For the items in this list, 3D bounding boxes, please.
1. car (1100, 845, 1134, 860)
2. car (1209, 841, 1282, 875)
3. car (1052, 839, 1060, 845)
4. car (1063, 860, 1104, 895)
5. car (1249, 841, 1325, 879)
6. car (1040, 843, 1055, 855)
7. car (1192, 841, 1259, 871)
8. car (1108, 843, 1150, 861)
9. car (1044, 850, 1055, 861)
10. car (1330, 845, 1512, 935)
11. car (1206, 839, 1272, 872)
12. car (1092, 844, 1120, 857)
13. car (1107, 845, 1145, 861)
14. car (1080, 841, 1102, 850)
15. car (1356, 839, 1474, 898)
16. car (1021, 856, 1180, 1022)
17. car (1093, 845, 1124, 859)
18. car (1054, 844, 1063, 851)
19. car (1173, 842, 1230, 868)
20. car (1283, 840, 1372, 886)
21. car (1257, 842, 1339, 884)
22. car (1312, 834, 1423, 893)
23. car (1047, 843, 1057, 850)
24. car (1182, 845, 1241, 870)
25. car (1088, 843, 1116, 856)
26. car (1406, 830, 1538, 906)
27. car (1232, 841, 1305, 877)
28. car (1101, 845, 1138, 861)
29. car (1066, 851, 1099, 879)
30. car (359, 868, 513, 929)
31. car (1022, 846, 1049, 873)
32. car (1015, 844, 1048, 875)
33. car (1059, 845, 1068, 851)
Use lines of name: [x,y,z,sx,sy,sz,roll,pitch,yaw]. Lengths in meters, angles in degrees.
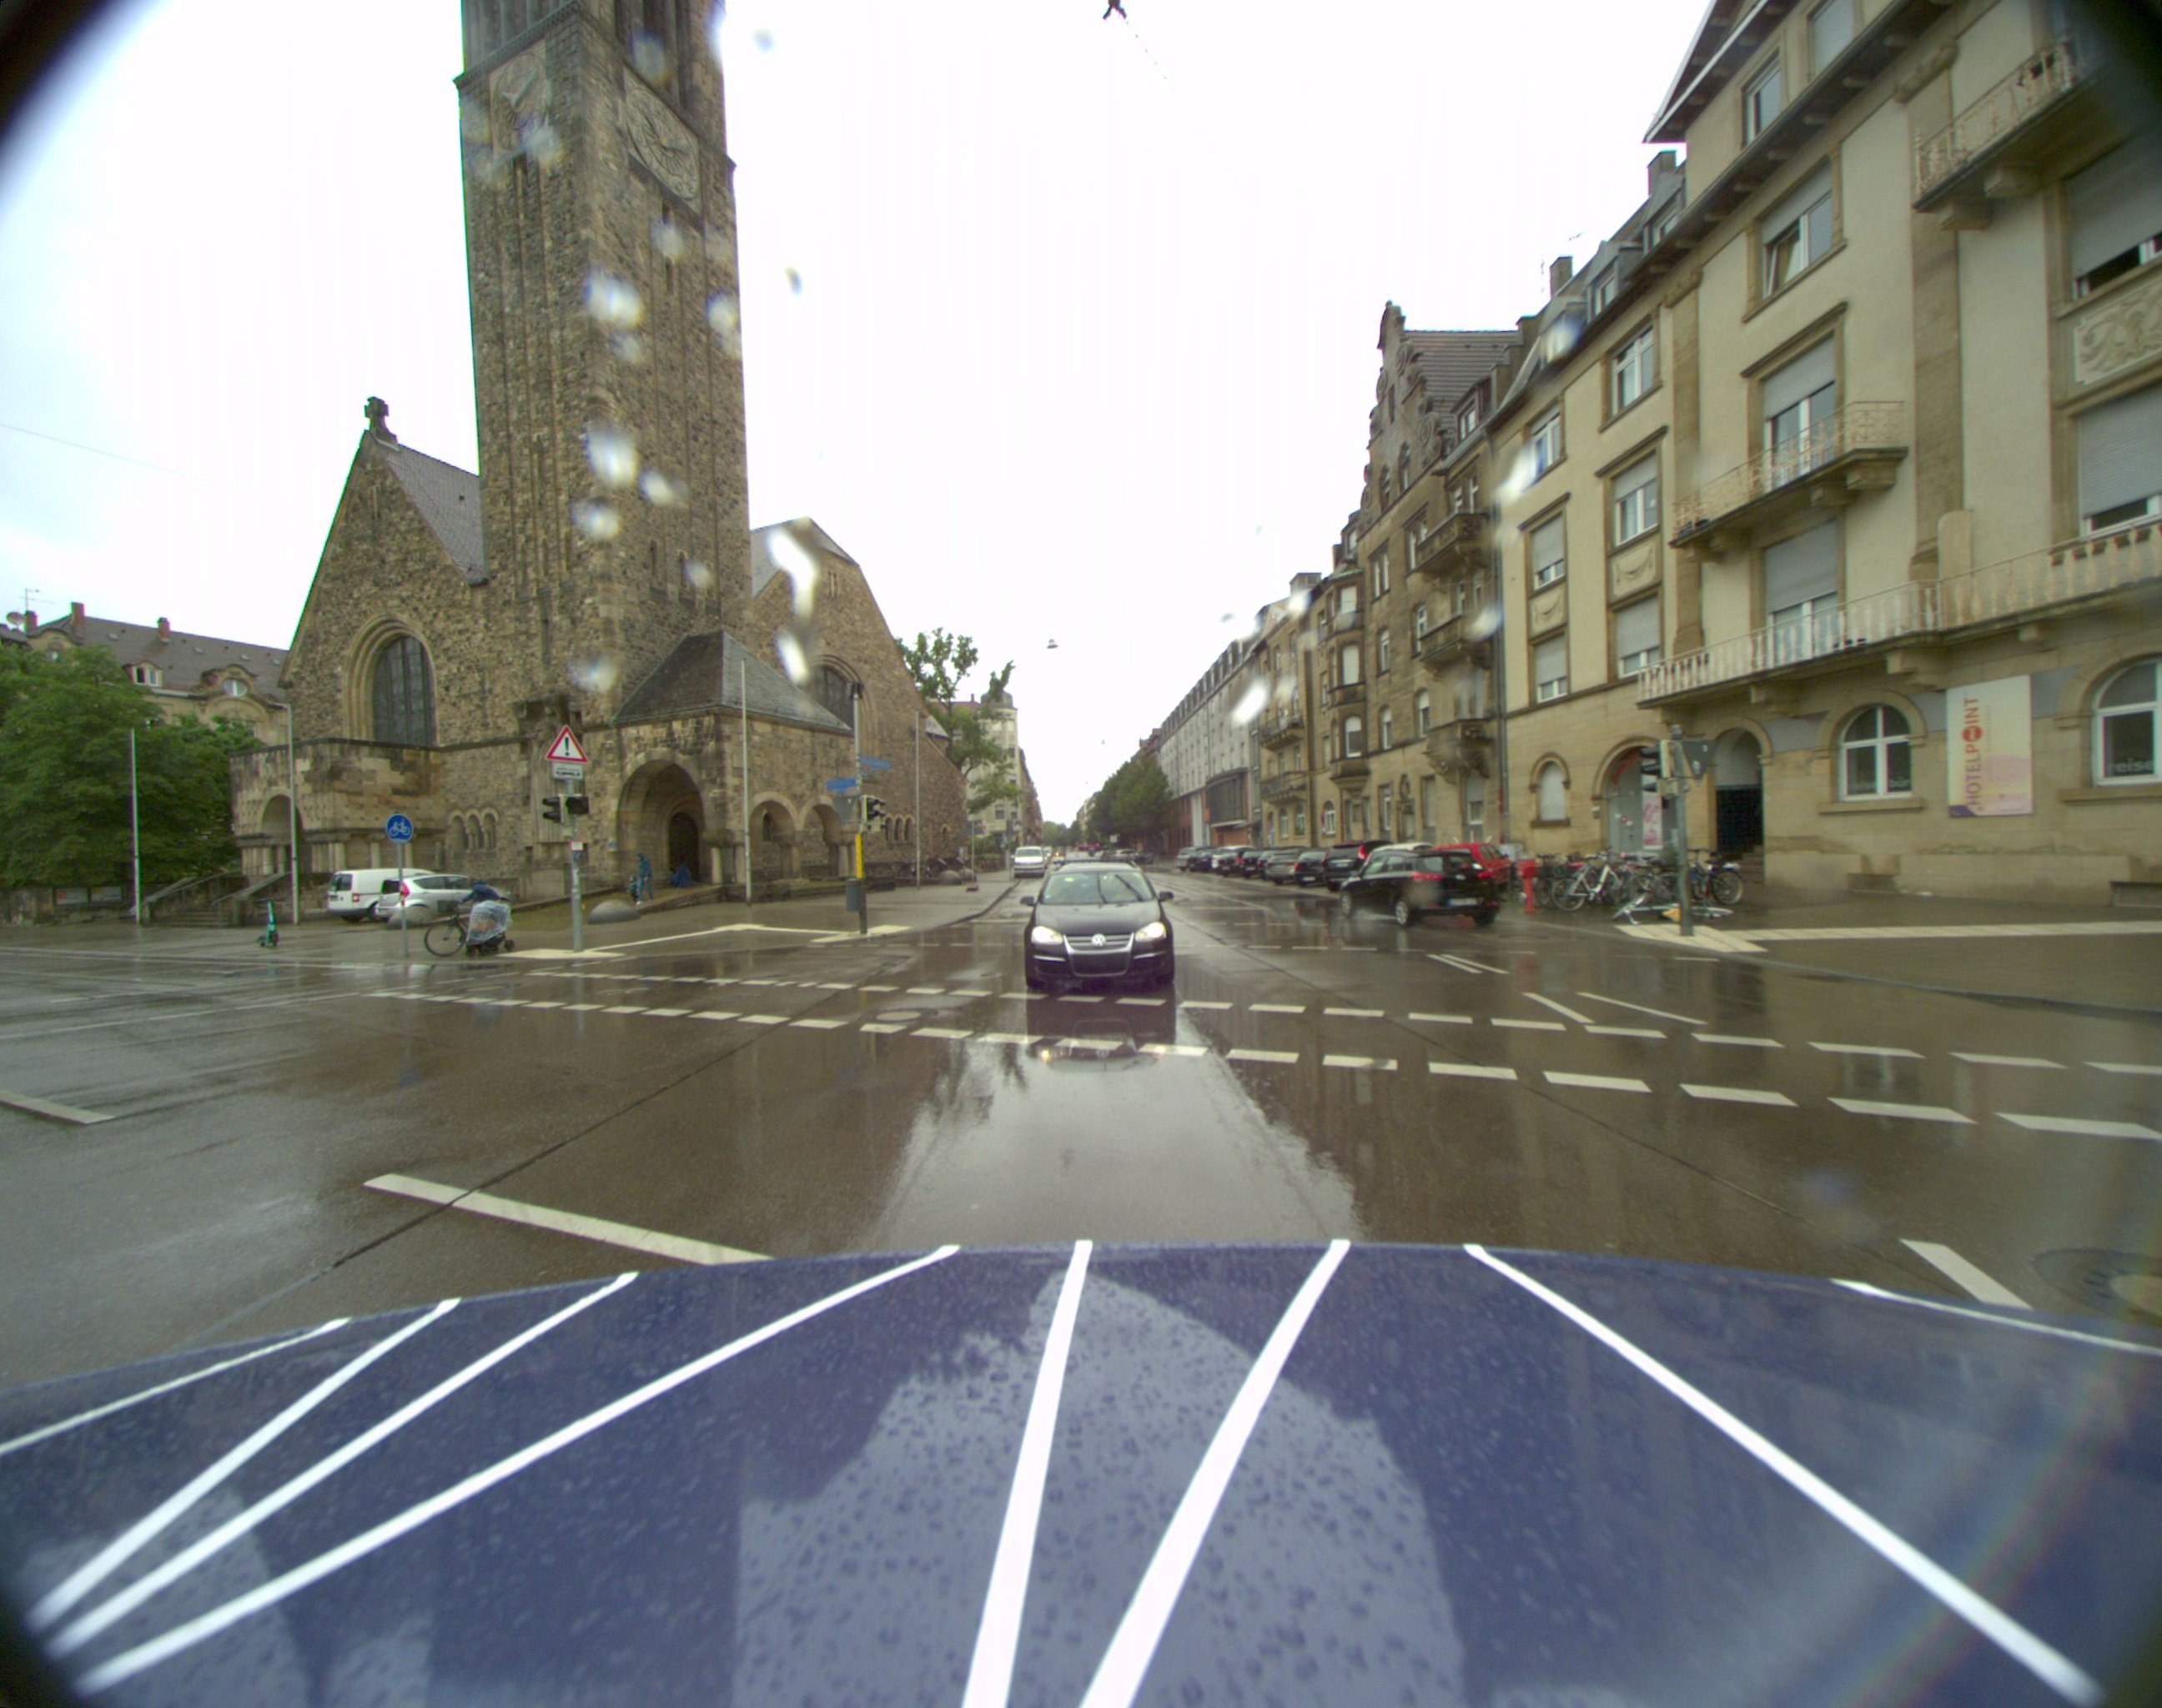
car: [4.399,-0.228,93.579,3.803,1.705,1.998,-2,1,-12]
car: [9.001,0.223,41.460,3.733,1.535,1.774,-5,1,-36]
car: [-7.387,-3.514,224.008,1.838,1.827,4.000,-1,1,2]
car: [0.058,0.908,30.634,1.547,1.214,3.607,-1,1,-1]
car: [9.670,0.272,35.609,3.449,1.535,1.624,-5,1,-37]
car: [-4.540,-0.717,102.322,1.922,1.471,4.219,-1,1,-2]
car: [9.059,0.092,47.536,3.732,1.519,1.897,-6,3,-32]
car: [5.087,-0.193,80.218,4.005,1.804,1.995,-2,1,-28]
car: [-3.922,0.140,94.760,1.356,1.285,3.012,-1,1,-2]
car: [6.631,0.616,15.306,1.748,1.537,3.776,-2,1,-4]
car: [9.332,0.087,44.729,3.733,1.617,1.774,-5,1,-39]
car: [3.763,-0.522,112.813,3.803,1.705,1.904,-2,1,-12]
car: [5.015,-0.152,84.926,3.803,1.705,1.998,-2,1,-12]
car: [1.925,-1.651,148.944,3.809,1.705,1.995,-2,1,-35]
car: [10.359,0.416,23.420,4.001,1.525,1.700,-4,1,-41]
car: [0.148,0.857,9.620,1.547,1.553,4.069,-1,1,-1]
car: [3.654,-0.290,100.862,3.803,1.705,1.998,-2,1,-12]
car: [-5.925,-1.654,201.043,1.998,1.705,4.374,-1,1,2]
car: [8.471,0.046,53.234,3.931,1.720,1.811,-2,1,-43]
car: [9.586,0.348,29.491,3.316,1.516,1.697,-5,1,-40]
car: [9.261,0.366,32.327,3.435,1.535,1.697,-5,1,-41]
car: [9.912,0.304,26.142,4.092,1.682,1.760,-5,1,-41]
car: [-6.881,-1.740,179.552,1.998,1.705,3.802,-1,1,2]
car: [8.659,0.225,50.161,3.734,1.519,1.713,-2,1,-37]
car: [3.343,-0.711,121.233,4.006,2.002,1.995,-2,1,-30]
car: [10.857,0.357,20.964,4.005,1.499,1.799,-9,1,-42]
car: [9.528,0.223,38.481,3.765,1.535,1.624,-5,1,-41]
car: [4.447,-0.150,87.992,3.803,1.705,1.998,-2,1,-12]
car: [0.052,0.590,43.230,1.766,1.430,3.747,-1,1,-2]
car: [-21.431,1.421,25.402,1.732,1.566,3.361,-2,4,25]
car: [-3.346,0.362,56.509,1.837,1.835,4.294,-1,1,-1]
car: [-3.194,0.311,49.810,1.909,1.911,5.270,-1,1,-1]
car: [-4.946,-1.815,215.744,1.998,1.705,4.374,-1,1,2]
